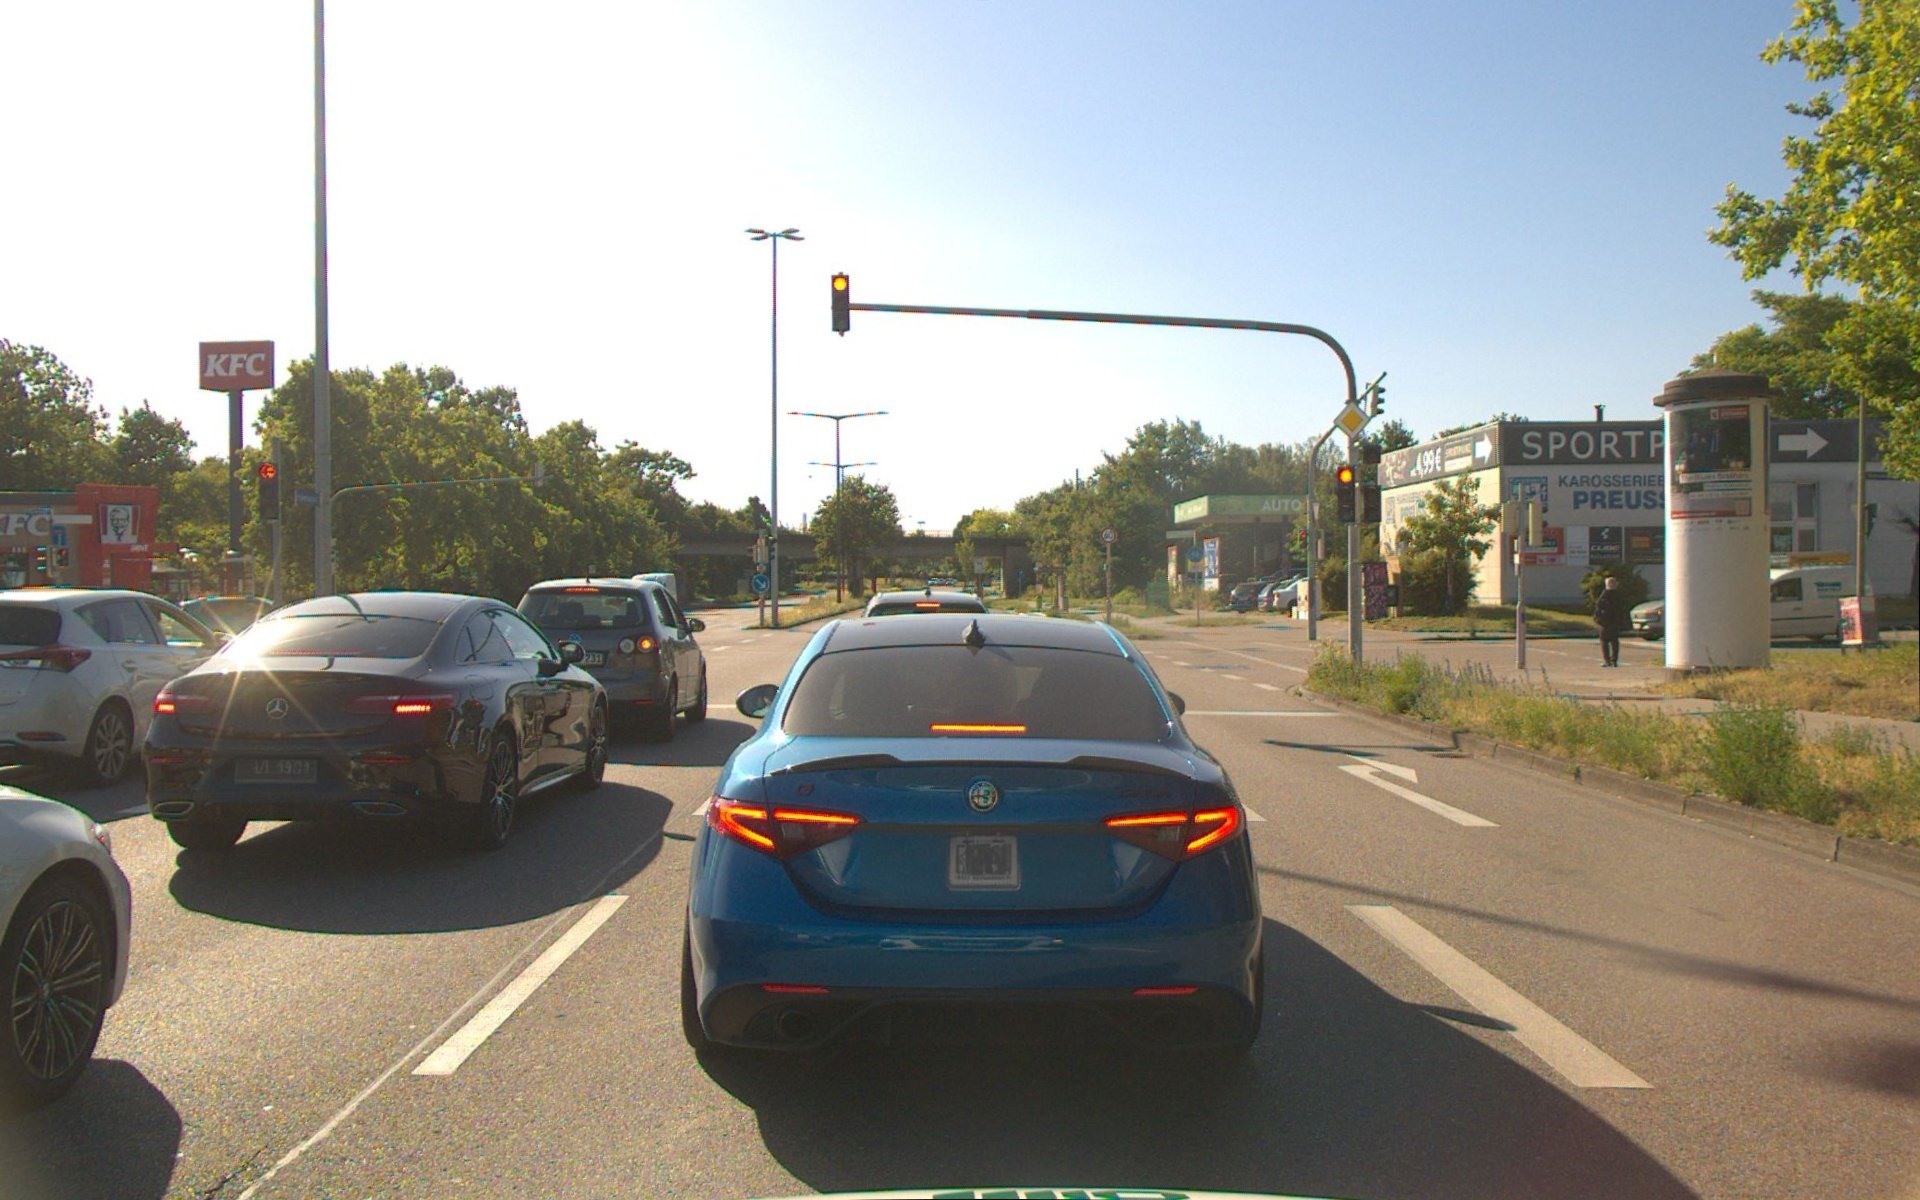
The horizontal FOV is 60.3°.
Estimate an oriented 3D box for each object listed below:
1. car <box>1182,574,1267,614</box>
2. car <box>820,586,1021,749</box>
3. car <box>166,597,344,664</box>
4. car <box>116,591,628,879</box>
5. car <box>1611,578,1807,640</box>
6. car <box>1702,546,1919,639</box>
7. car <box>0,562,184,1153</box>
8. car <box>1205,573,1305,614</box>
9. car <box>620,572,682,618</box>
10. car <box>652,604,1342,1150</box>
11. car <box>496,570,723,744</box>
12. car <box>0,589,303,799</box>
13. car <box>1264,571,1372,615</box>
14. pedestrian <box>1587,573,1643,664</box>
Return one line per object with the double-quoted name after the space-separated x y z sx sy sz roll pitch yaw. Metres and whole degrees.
11.885 -0.271 74.337 3.428 1.736 1.688 0 0 -16 "car"
-0.389 0.605 17.062 1.828 1.475 3.931 0 0 -1 "car"
-17.977 0.746 42.346 3.971 1.622 1.817 0 0 -16 "car"
-3.411 0.666 10.577 1.732 1.439 4.460 0 0 -1 "car"
19.764 0.220 43.733 4.318 1.580 1.998 0 0 -4 "car"
20.607 -0.194 40.164 4.318 2.183 1.998 0 0 -4 "car"
-3.347 0.680 3.103 1.732 1.535 4.460 0 0 -1 "car"
12.680 -0.276 71.159 3.928 1.736 1.686 0 0 -20 "car"
-16.918 -0.282 90.879 2.382 2.469 5.830 0 0 -1 "car"
0.075 0.744 6.372 1.828 1.409 3.931 0 0 -1 "car"
-3.574 0.519 17.493 1.615 1.626 3.931 0 0 -1 "car"
-7.185 0.638 13.654 1.819 1.454 4.403 0 0 -1 "car"
14.352 -0.286 66.328 3.923 1.736 1.687 0 0 -17 "car"
12.738 0.350 32.190 0.805 1.752 0.854 0 0 6 "pedestrian"
